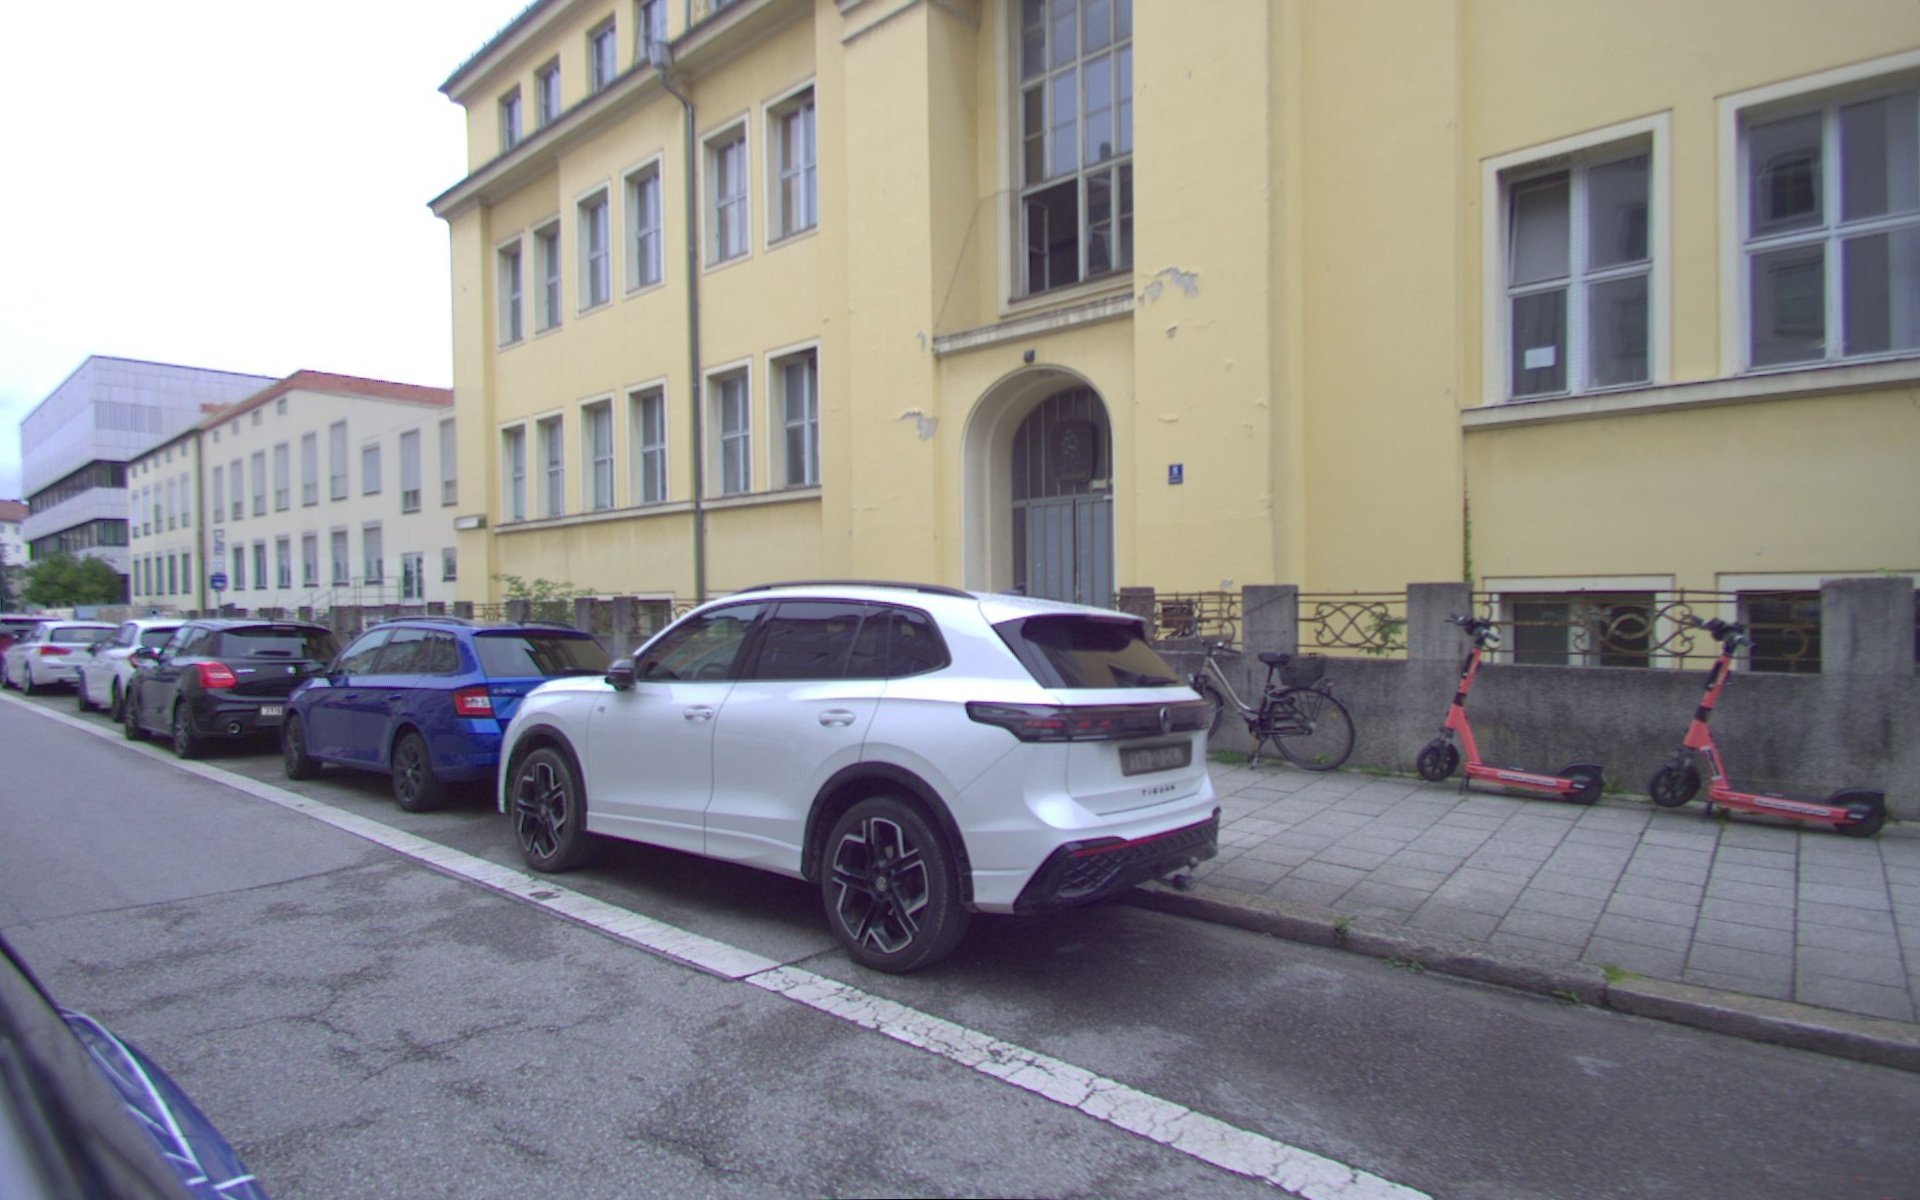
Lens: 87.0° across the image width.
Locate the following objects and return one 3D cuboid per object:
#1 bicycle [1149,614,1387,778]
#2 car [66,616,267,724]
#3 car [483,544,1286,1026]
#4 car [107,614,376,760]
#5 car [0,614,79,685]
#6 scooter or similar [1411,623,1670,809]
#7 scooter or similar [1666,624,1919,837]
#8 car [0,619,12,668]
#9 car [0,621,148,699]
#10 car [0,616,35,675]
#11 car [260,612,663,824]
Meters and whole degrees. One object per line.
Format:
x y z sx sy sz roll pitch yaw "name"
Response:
2.471 0.720 8.265 1.765 1.197 0.577 -1 1 41 "bicycle"
-12.358 1.000 15.675 4.110 1.457 1.668 -1 -3 41 "car"
-0.647 0.699 5.531 4.294 1.653 1.764 -1 -4 38 "car"
-8.574 0.924 11.974 3.777 1.450 1.716 -1 -3 41 "car"
-22.579 1.135 24.142 4.207 1.566 1.751 -1 -3 41 "car"
3.960 0.744 6.966 1.444 1.145 0.526 -2 -1 41 "scooter or similar"
5.082 0.723 5.959 1.444 1.145 0.526 -2 -1 41 "scooter or similar"
-30.072 1.306 30.598 3.945 1.438 1.652 -1 -1 41 "car"
-18.105 1.153 20.550 4.017 1.408 1.793 -1 -3 41 "car"
-26.604 1.215 27.546 3.945 1.529 1.652 -1 -1 41 "car"
-4.465 0.868 8.838 3.912 1.457 1.591 -1 -3 38 "car"
